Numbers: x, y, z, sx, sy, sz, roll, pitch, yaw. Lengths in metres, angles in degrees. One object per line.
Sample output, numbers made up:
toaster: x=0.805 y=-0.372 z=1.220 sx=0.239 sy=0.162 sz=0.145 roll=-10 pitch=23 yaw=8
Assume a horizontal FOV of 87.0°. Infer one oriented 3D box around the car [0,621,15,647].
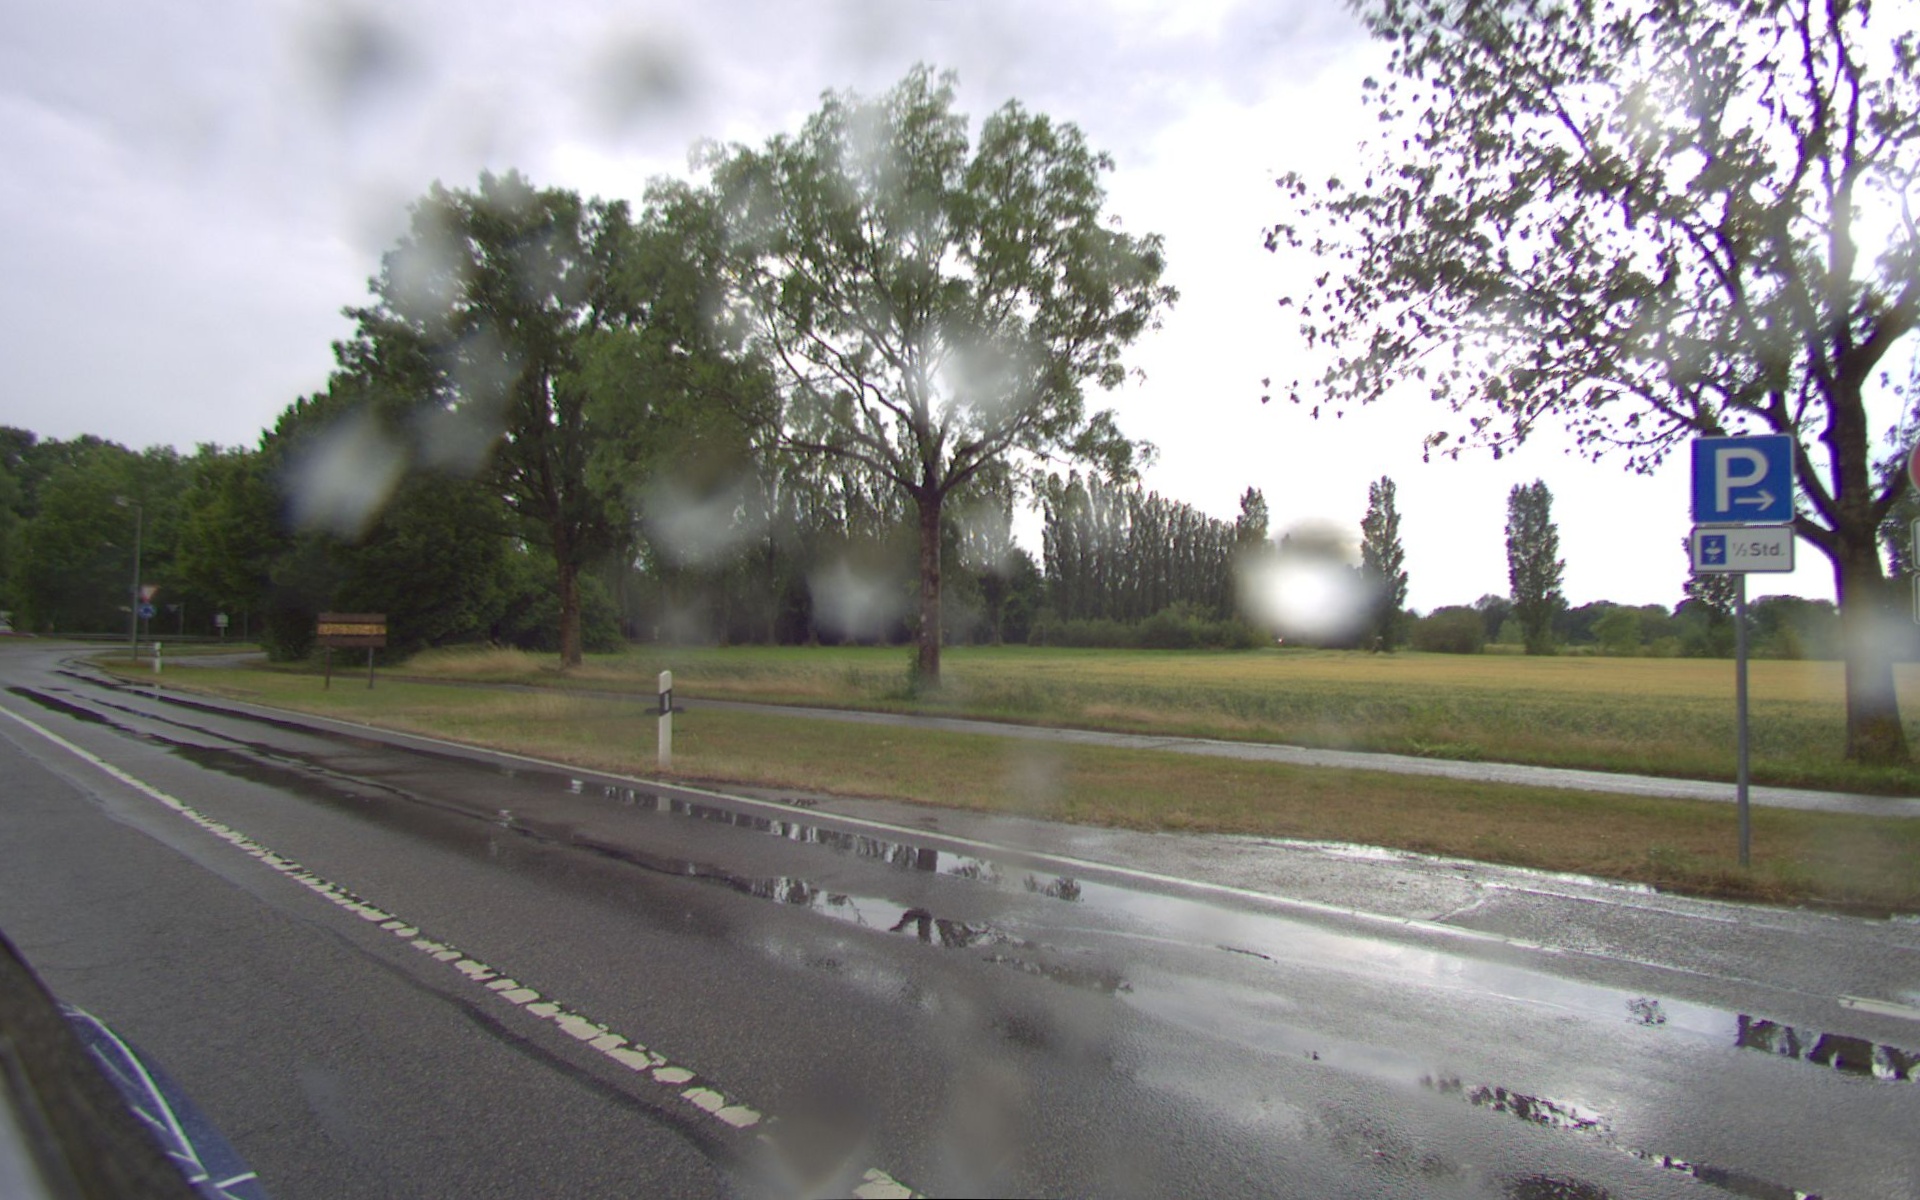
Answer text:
car: x=-58.180 y=1.972 z=59.365 sx=3.677 sy=1.510 sz=1.683 roll=1 pitch=-3 yaw=-6
